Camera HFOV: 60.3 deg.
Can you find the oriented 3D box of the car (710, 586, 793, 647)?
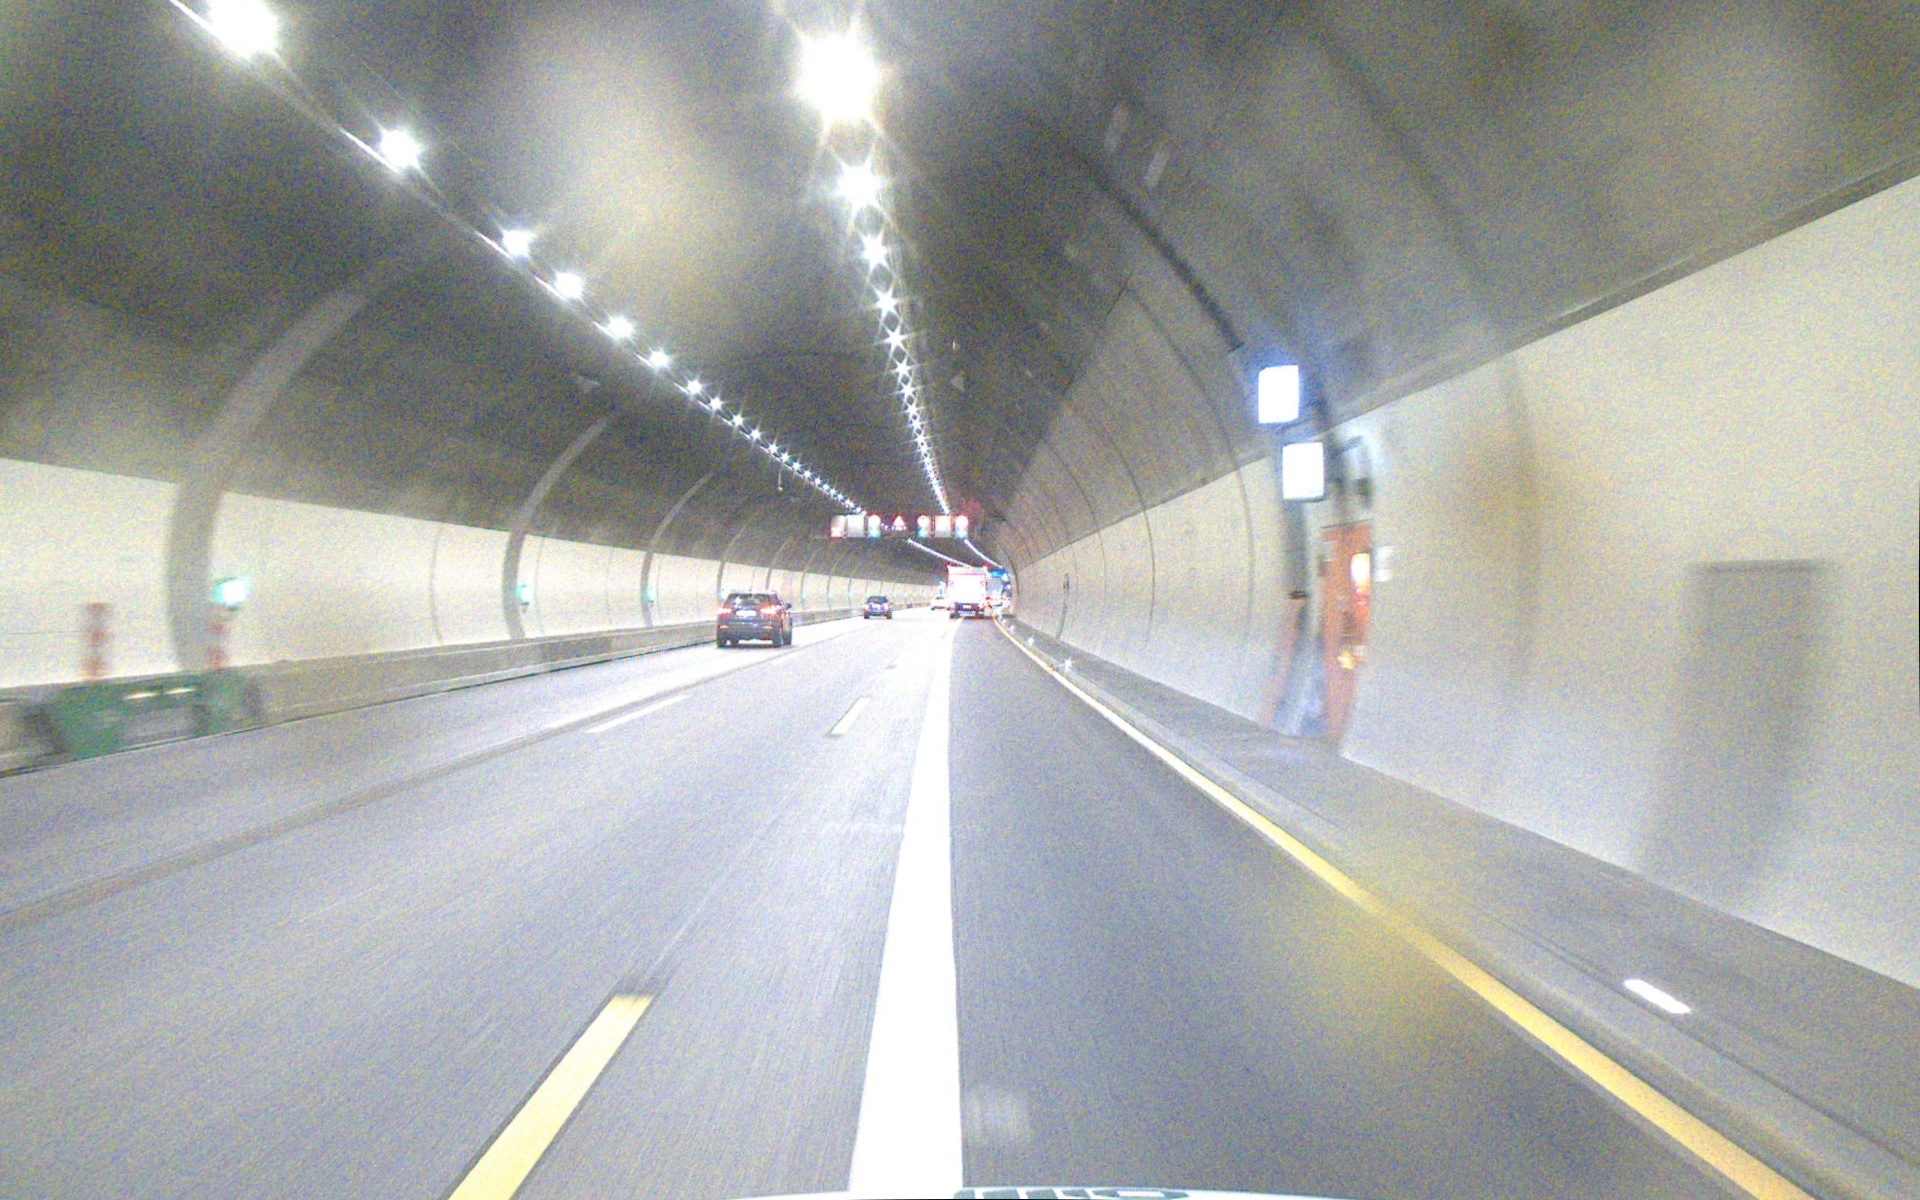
[{"bbox_3d":[-5.819,0.421,46.636,1.775,1.646,4.000,0,0,1],"label":"car"}]

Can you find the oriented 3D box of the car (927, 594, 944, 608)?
[{"bbox_3d":[-2.456,0.066,164.986,1.617,1.297,4.000,0,2,0],"label":"car"}]

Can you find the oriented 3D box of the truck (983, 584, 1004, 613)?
[{"bbox_3d":[5.044,-0.258,246.981,2.862,4.118,14.032,-2,0,2],"label":"truck"}]

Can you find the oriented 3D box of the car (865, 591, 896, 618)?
[{"bbox_3d":[-4.983,0.285,103.746,1.775,1.546,4.000,0,2,0],"label":"car"}]

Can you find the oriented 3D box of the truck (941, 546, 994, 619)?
[{"bbox_3d":[0.386,-1.207,118.147,3.212,4.731,17.282,-2,0,-1],"label":"truck"}]
